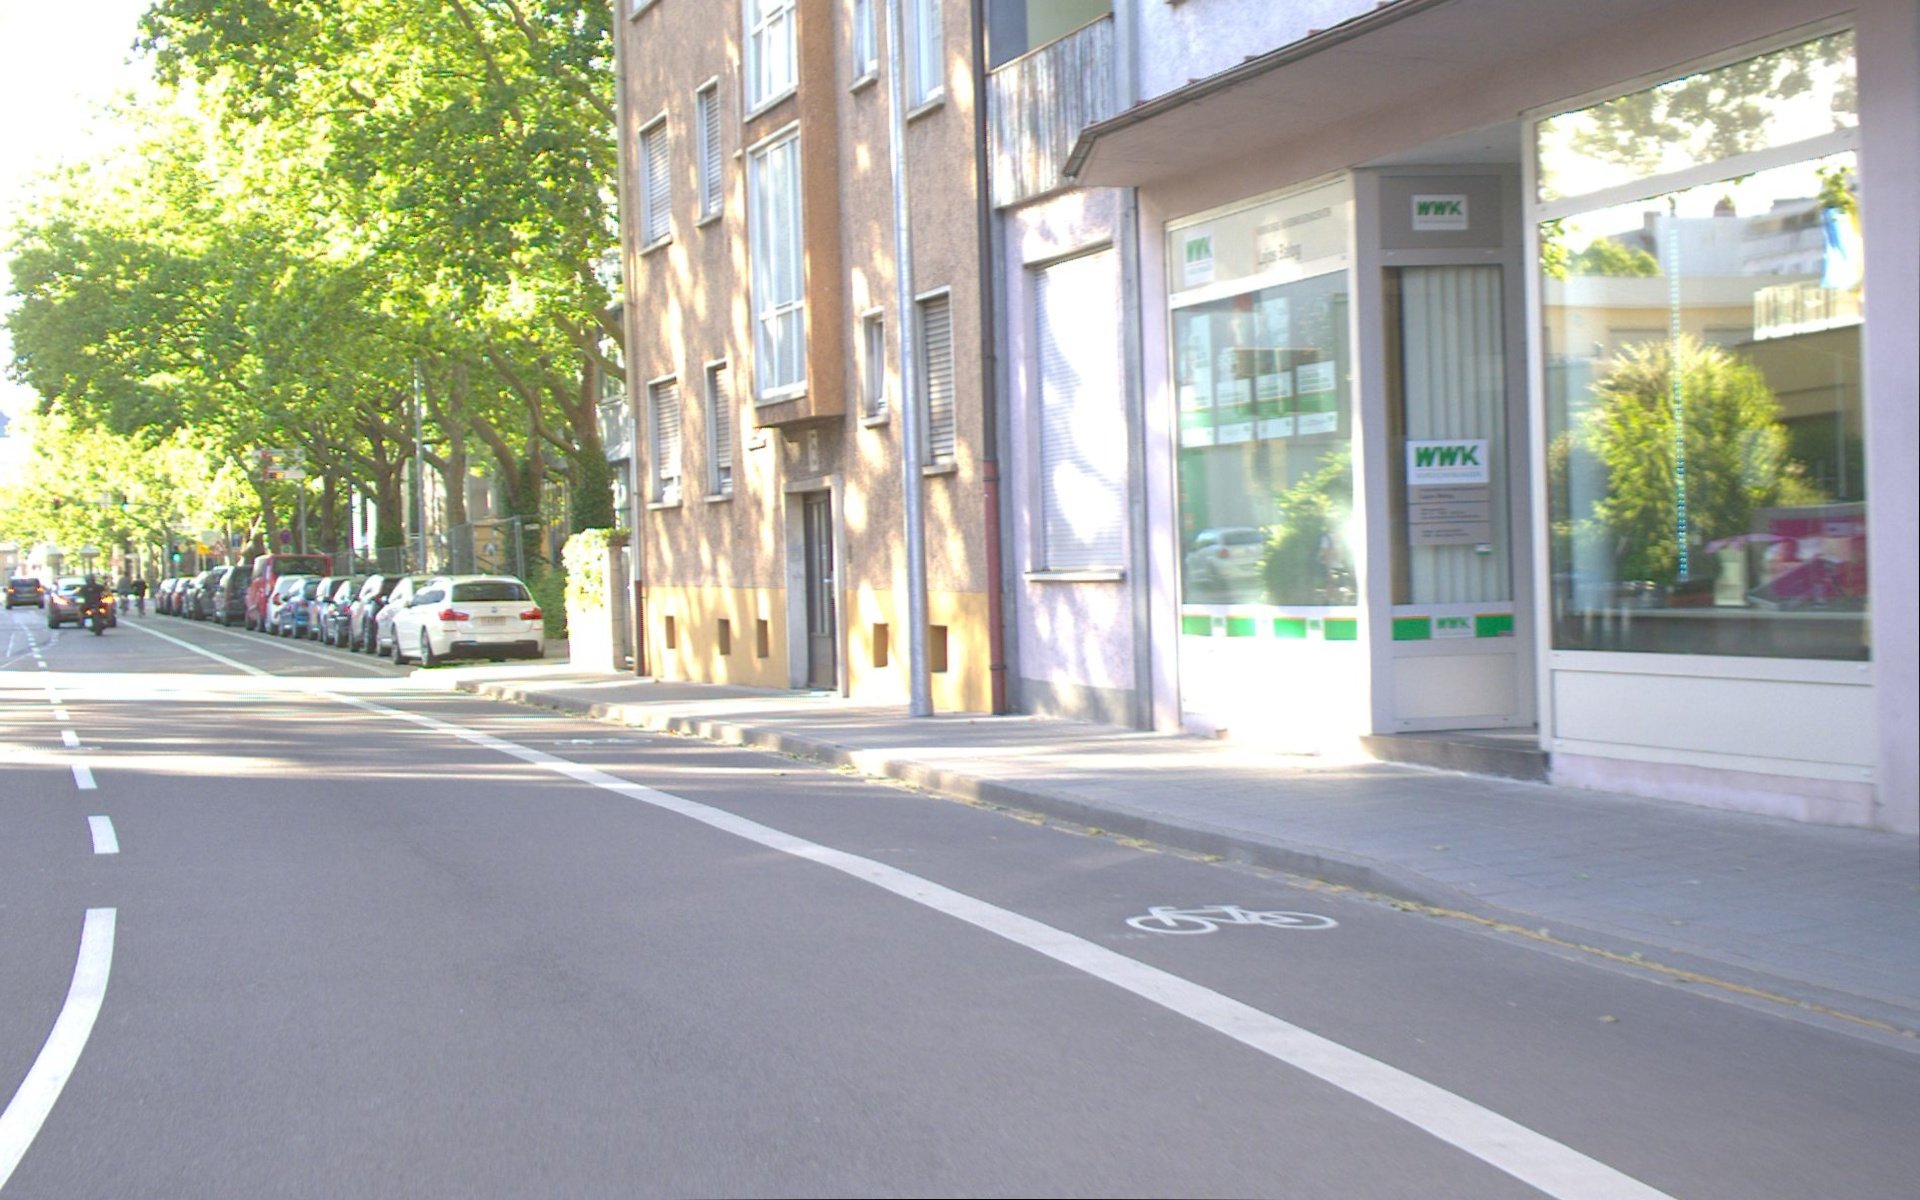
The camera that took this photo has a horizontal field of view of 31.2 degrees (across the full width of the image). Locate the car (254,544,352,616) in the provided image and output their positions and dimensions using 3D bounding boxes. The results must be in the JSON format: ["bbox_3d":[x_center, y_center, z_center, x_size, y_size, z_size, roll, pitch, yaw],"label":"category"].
[{"bbox_3d":[-16.492,-0.525,86.173,2.032,1.713,4.095,-2,1,-16],"label":"car"}]

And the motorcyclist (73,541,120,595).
[{"bbox_3d":[-21.570,-0.800,85.850,0.970,1.342,1.138,0,1,-24],"label":"motorcyclist"}]

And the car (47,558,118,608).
[{"bbox_3d":[-25.449,-0.511,99.678,1.923,1.384,4.001,-1,1,-15],"label":"car"}]

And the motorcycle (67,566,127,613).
[{"bbox_3d":[-21.569,-0.274,85.870,0.973,1.128,2.806,0,2,-24],"label":"motorcycle"}]

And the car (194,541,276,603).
[{"bbox_3d":[-21.360,-0.837,101.220,2.032,1.736,4.095,-2,1,-16],"label":"car"}]

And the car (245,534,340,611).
[{"bbox_3d":[-17.553,-0.739,90.287,2.032,1.927,4.095,-2,1,-16],"label":"car"}]

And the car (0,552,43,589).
[{"bbox_3d":[-46.793,-1.486,171.241,2.032,1.736,4.095,-2,1,-16],"label":"car"}]

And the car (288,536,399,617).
[{"bbox_3d":[-13.940,-0.543,77.591,2.032,1.713,4.095,-2,1,-16],"label":"car"}]

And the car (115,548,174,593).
[{"bbox_3d":[-32.553,-1.188,137.180,2.032,1.736,4.095,-2,1,-16],"label":"car"}]

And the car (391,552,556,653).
[{"bbox_3d":[-7.818,0.015,54.922,2.032,1.499,4.095,-2,1,-16],"label":"car"}]

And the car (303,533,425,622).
[{"bbox_3d":[-12.452,-0.488,71.631,2.032,1.753,4.095,-2,1,-16],"label":"car"}]

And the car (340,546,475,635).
[{"bbox_3d":[-10.641,-0.203,66.009,2.032,1.611,4.095,-2,1,-16],"label":"car"}]

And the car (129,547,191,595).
[{"bbox_3d":[-30.239,-1.112,129.927,2.032,1.736,4.095,-2,1,-16],"label":"car"}]
